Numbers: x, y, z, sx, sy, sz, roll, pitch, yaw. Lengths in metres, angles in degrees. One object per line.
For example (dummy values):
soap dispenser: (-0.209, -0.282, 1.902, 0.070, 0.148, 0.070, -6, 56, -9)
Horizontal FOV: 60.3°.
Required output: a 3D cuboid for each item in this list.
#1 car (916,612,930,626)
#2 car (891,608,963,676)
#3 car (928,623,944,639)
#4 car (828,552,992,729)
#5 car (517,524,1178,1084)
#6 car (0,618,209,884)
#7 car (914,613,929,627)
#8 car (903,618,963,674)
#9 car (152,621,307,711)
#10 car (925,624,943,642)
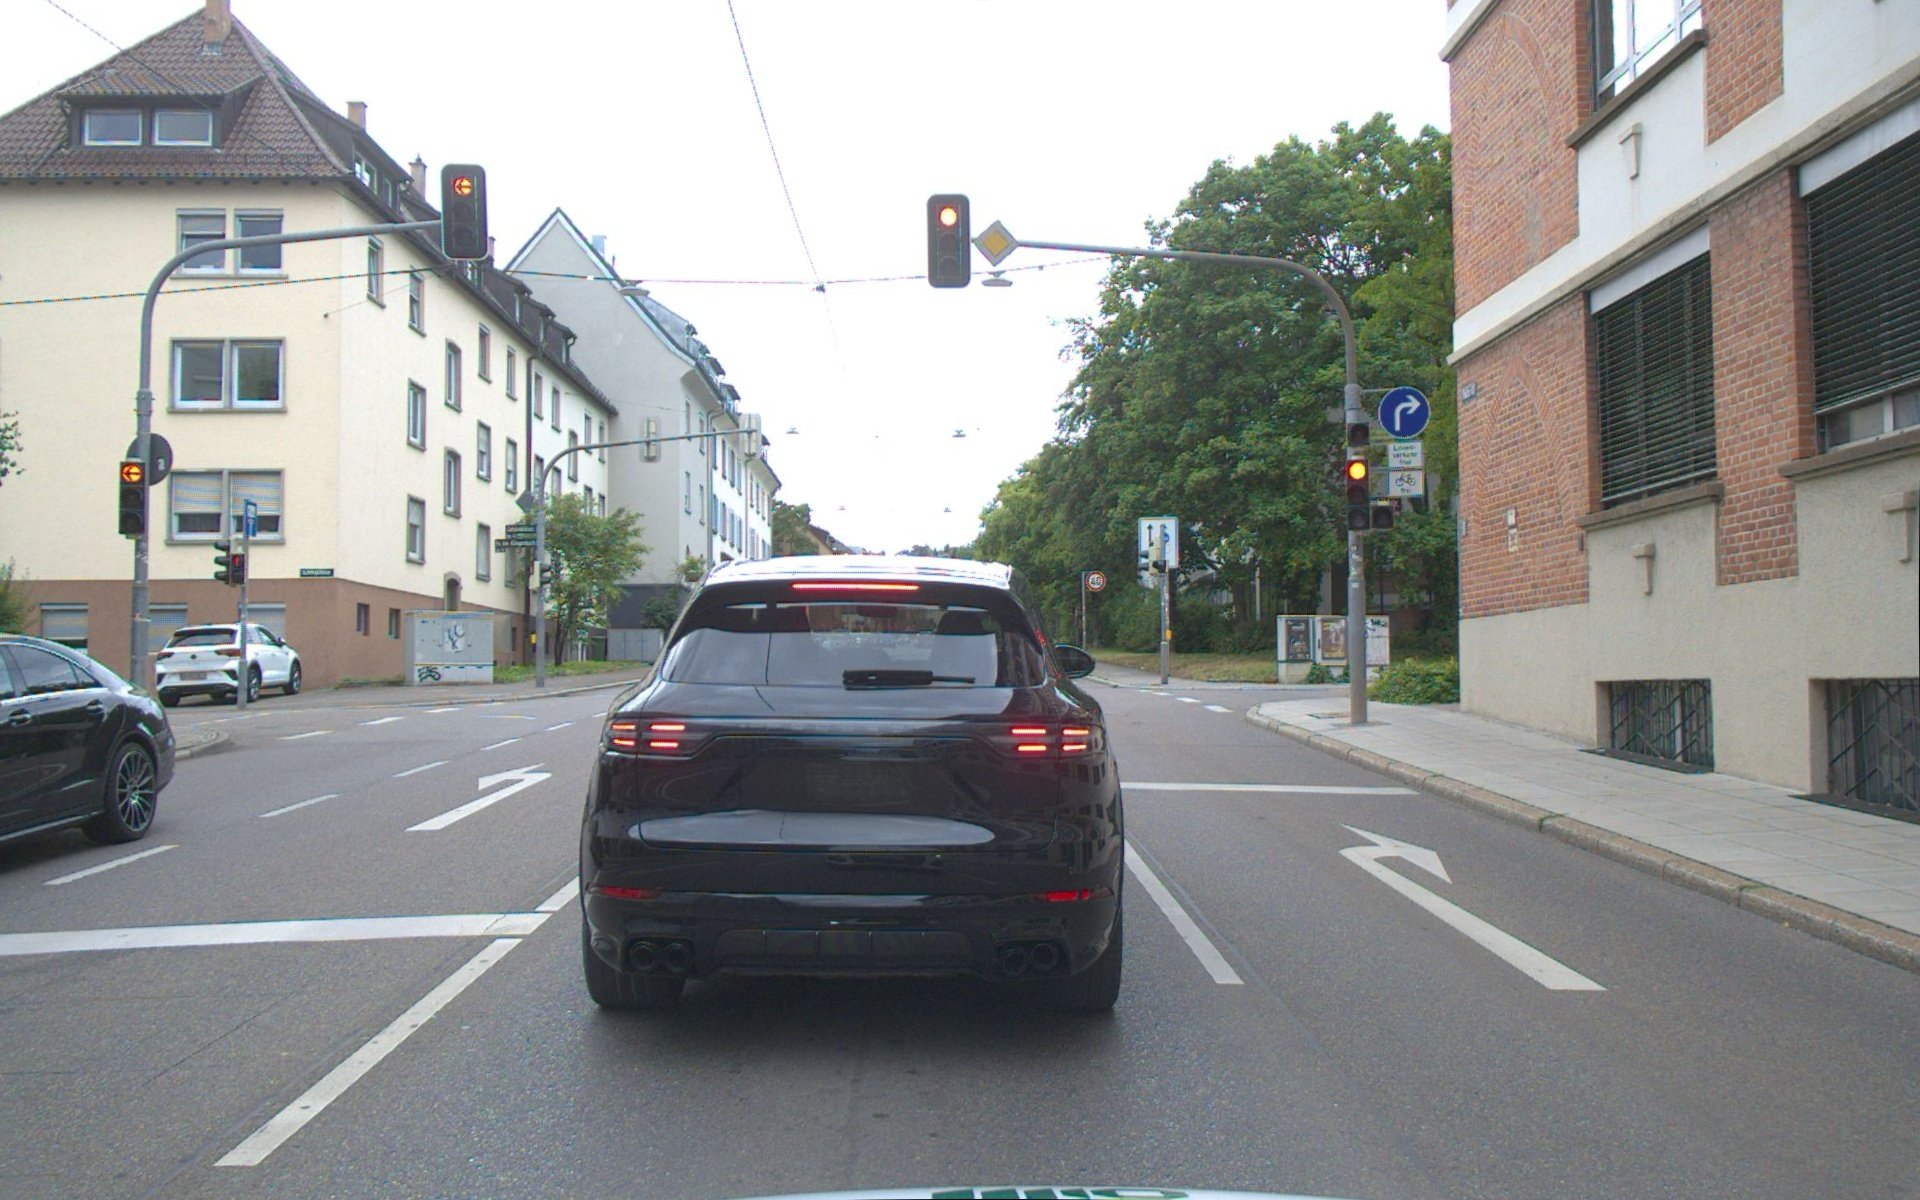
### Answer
car: (-4.677, 2.404, 210.162, 1.790, 1.633, 4.134, 1, 0, -1)
car: (-0.841, 1.076, 43.792, 1.790, 1.633, 4.134, 1, 0, -1)
car: (-2.625, 3.431, 182.391, 1.790, 1.633, 4.134, 1, 0, -1)
car: (-0.617, 0.479, 21.881, 1.925, 2.078, 4.134, 1, 0, -1)
car: (-0.363, 0.625, 7.234, 2.007, 1.695, 4.266, 1, 0, -1)
car: (-6.265, 0.908, 9.533, 1.749, 1.443, 4.669, -3, 0, -1)
car: (-4.748, 2.455, 202.834, 1.790, 1.633, 4.134, 1, 0, -1)
car: (-0.848, 1.429, 52.505, 1.790, 1.633, 3.858, 1, 0, -1)
car: (-14.728, 1.285, 33.543, 1.658, 1.582, 3.762, -3, 0, -5)
car: (-2.549, 3.268, 163.219, 1.790, 1.633, 4.134, 1, 0, -1)
